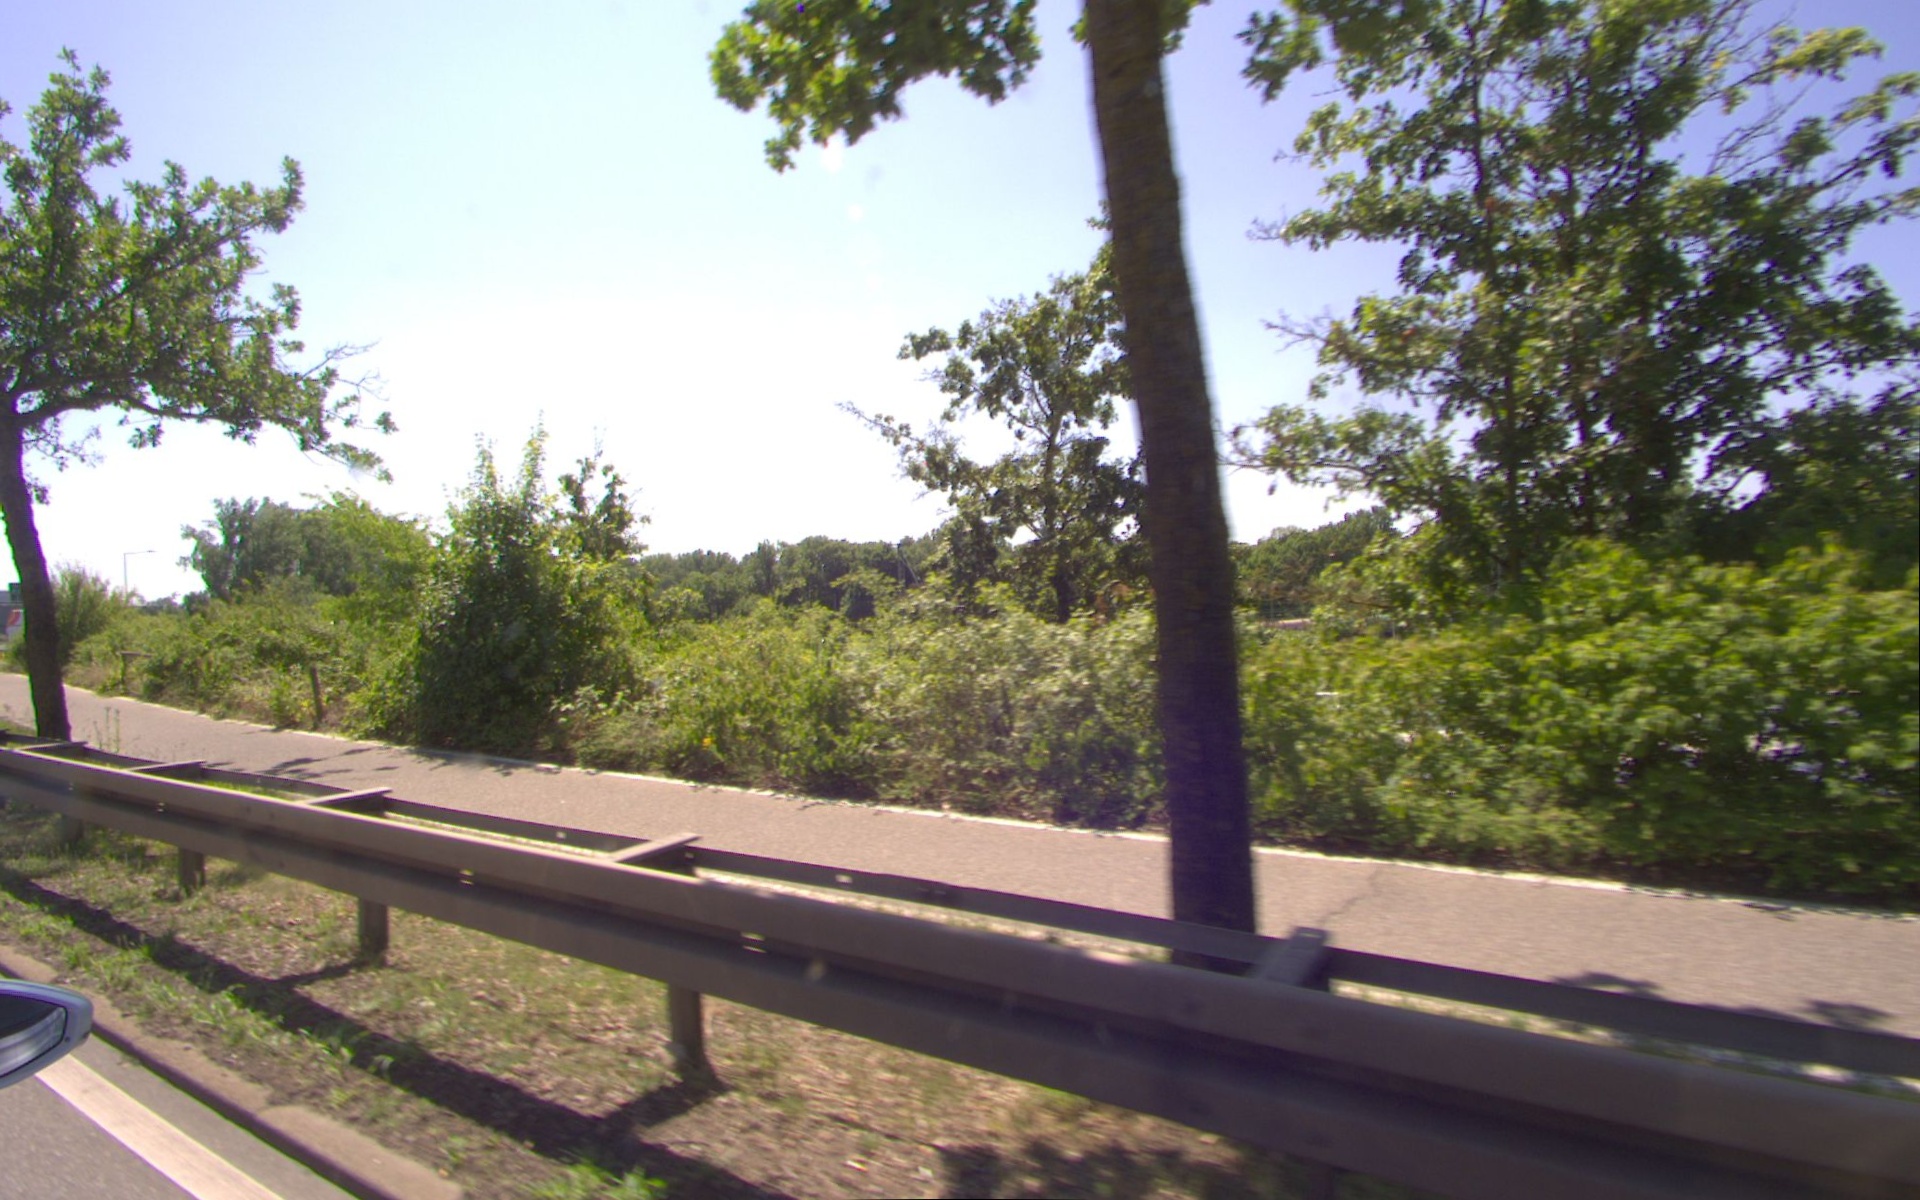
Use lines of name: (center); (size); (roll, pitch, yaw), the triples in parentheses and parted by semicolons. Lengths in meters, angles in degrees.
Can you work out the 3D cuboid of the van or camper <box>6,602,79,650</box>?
van or camper: (-55.006, 1.548, 60.131); (2.180, 2.746, 5.891); (0, -1, -32)
